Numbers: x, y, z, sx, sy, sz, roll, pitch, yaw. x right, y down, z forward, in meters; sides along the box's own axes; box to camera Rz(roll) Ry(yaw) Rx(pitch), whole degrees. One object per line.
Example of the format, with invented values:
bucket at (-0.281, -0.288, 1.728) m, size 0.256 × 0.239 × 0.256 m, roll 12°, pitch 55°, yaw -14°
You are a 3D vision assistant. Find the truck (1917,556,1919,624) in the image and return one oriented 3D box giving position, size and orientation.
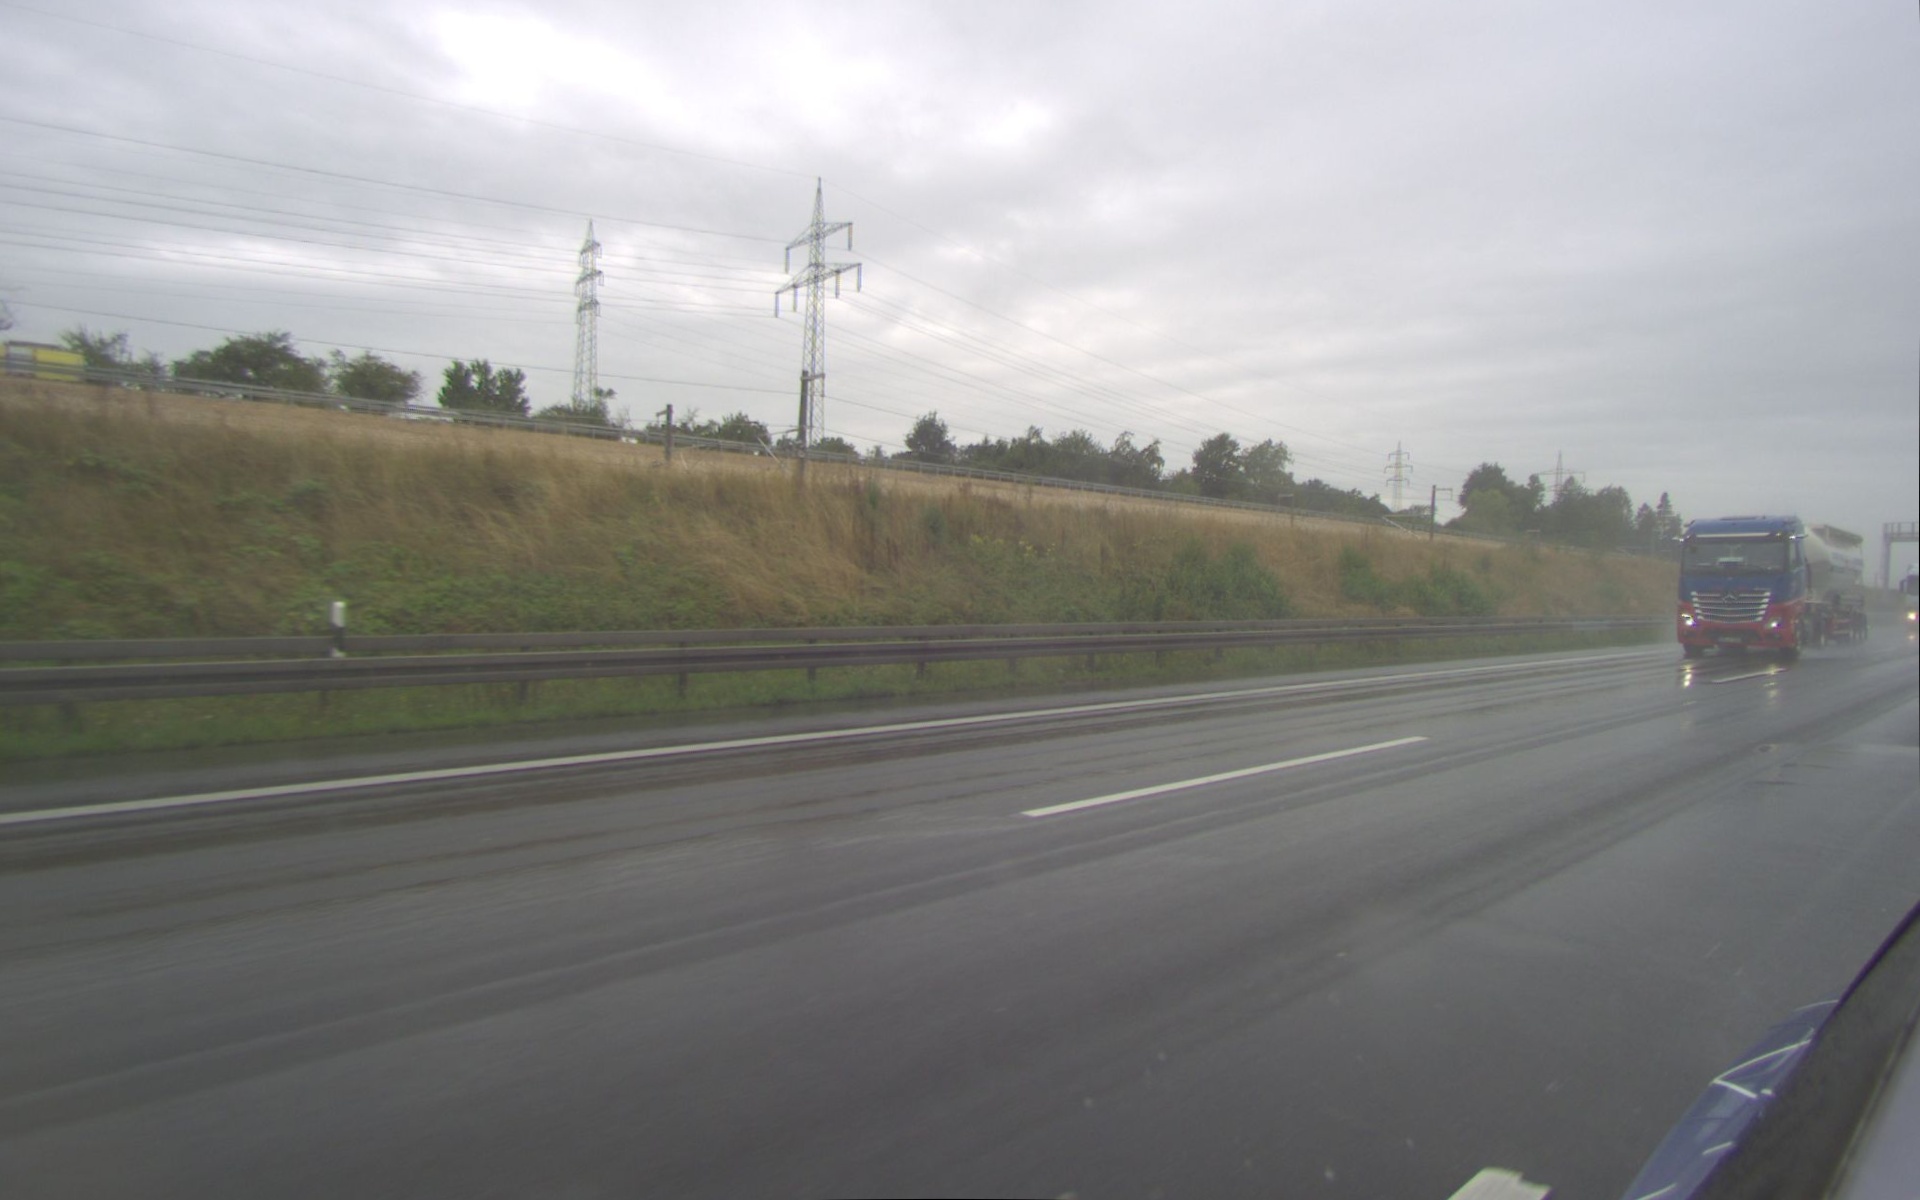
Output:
truck at (58.714, -0.495, 59.852) m, size 6.089 × 3.939 × 2.456 m, roll 2°, pitch -1°, yaw -40°

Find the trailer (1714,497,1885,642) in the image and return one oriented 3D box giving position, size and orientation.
trailer at (26.787, -0.730, 32.017) m, size 10.872 × 3.932 × 2.501 m, roll 2°, pitch -1°, yaw -41°

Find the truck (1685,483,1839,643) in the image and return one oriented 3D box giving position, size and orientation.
truck at (22.351, -0.898, 28.142) m, size 4.986 × 4.034 × 2.501 m, roll 2°, pitch -1°, yaw -41°
